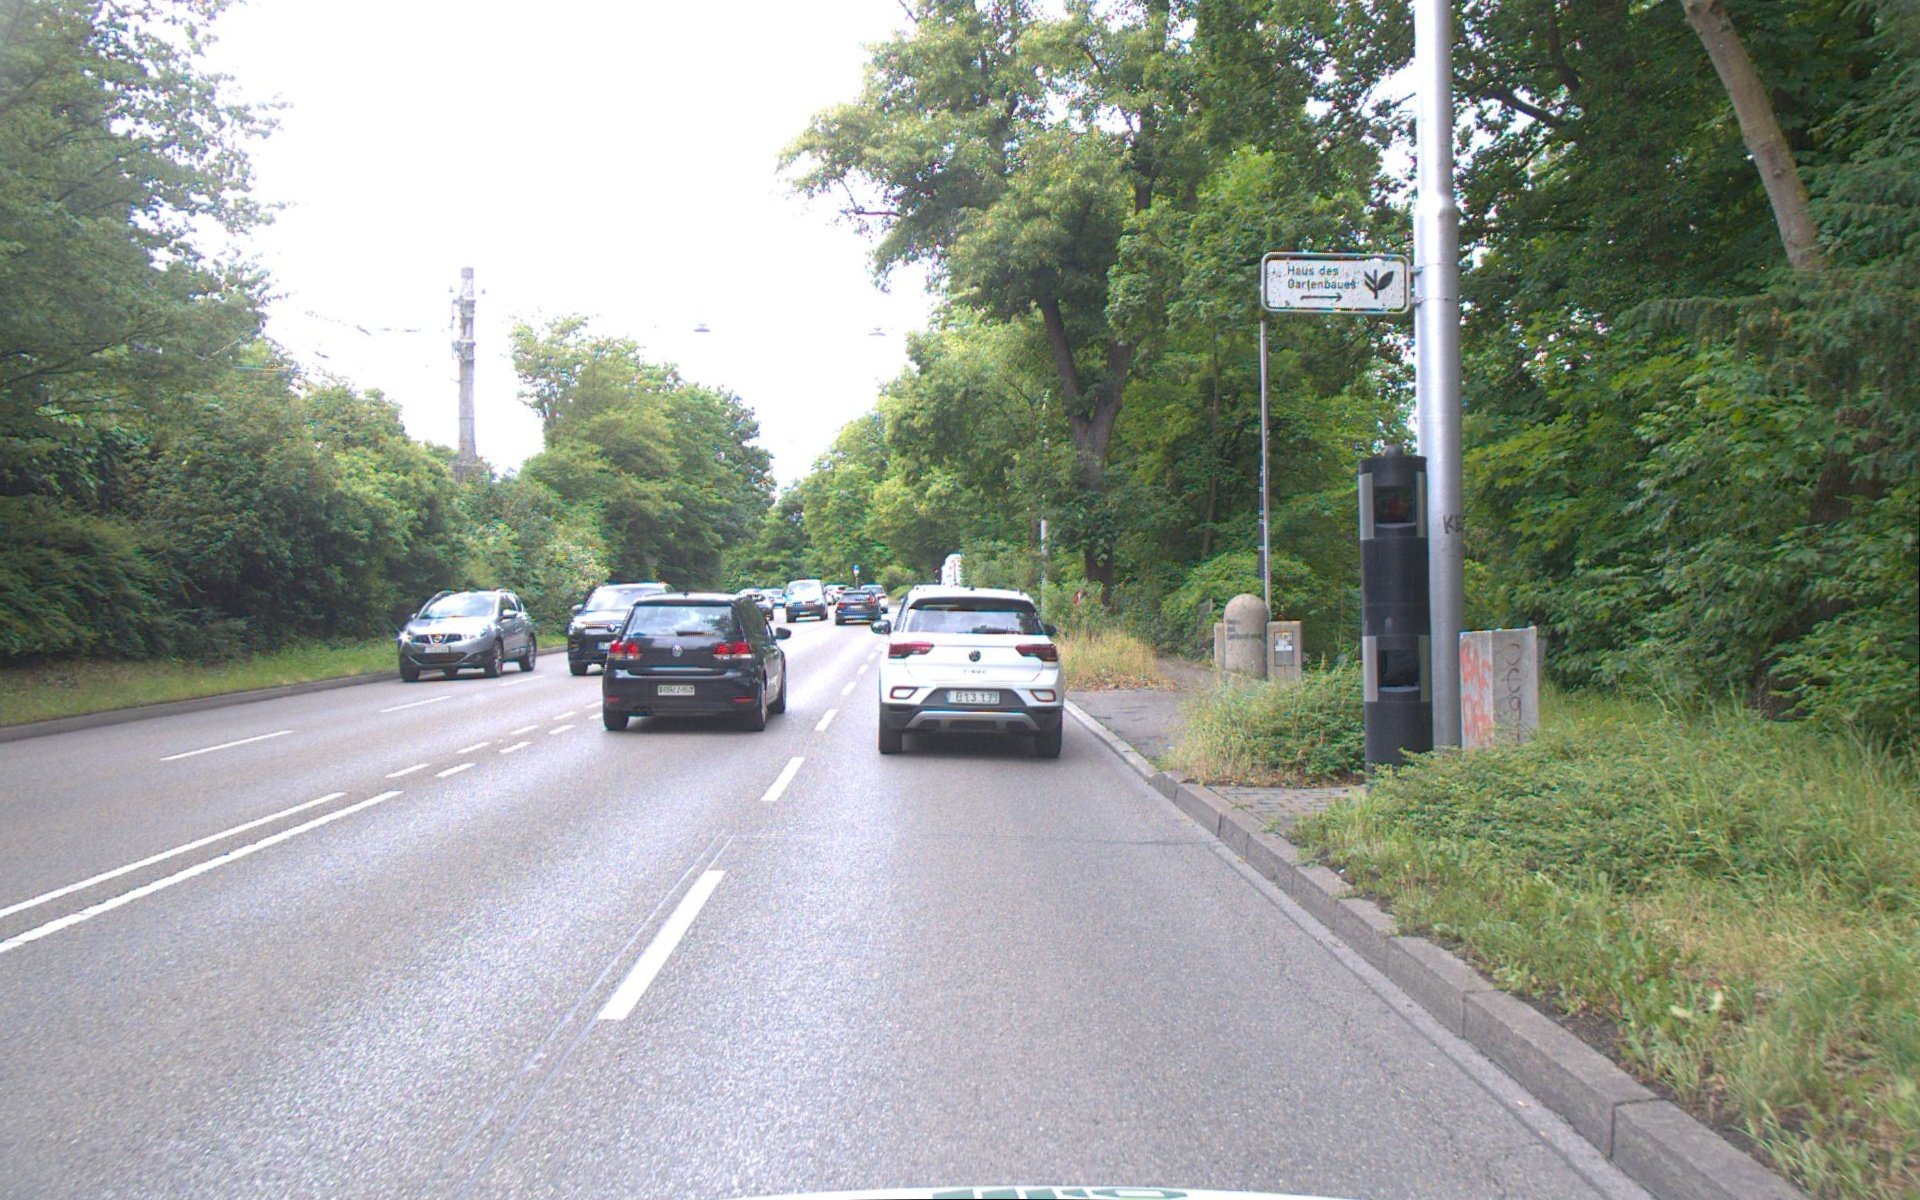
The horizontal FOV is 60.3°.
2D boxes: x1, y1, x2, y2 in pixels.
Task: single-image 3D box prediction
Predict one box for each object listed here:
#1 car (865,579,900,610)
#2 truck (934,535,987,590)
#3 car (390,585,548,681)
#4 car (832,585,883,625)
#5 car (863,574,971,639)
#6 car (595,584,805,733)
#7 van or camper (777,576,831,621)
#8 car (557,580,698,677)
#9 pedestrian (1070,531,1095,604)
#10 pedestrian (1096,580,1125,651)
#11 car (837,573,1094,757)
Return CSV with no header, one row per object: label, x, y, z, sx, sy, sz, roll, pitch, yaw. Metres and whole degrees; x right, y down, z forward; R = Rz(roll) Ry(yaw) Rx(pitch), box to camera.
car,-4.172,-0.305,89.660,1.785,1.651,3.999,1,0,-1
truck,0.000,-2.256,102.827,2.434,3.237,7.218,1,0,-7
car,-9.233,0.576,31.447,1.755,1.640,4.189,-2,0,-1
car,-4.344,0.191,70.569,1.953,1.620,3.999,1,0,-1
car,-1.301,0.160,48.660,1.826,1.732,3.972,-3,2,-23
car,-2.849,0.595,18.941,1.910,1.491,3.998,1,0,-3
van or camper,-7.681,-0.055,81.045,1.959,2.048,5.352,-3,0,-12
car,-6.308,0.508,31.905,1.773,1.691,4.829,-1,0,-1
pedestrian,3.006,-0.799,40.655,0.509,1.784,0.524,1,0,-5
pedestrian,3.707,0.369,40.673,0.597,1.727,0.548,1,0,-5
car,-0.082,0.577,16.734,1.964,1.624,3.992,1,0,-9
